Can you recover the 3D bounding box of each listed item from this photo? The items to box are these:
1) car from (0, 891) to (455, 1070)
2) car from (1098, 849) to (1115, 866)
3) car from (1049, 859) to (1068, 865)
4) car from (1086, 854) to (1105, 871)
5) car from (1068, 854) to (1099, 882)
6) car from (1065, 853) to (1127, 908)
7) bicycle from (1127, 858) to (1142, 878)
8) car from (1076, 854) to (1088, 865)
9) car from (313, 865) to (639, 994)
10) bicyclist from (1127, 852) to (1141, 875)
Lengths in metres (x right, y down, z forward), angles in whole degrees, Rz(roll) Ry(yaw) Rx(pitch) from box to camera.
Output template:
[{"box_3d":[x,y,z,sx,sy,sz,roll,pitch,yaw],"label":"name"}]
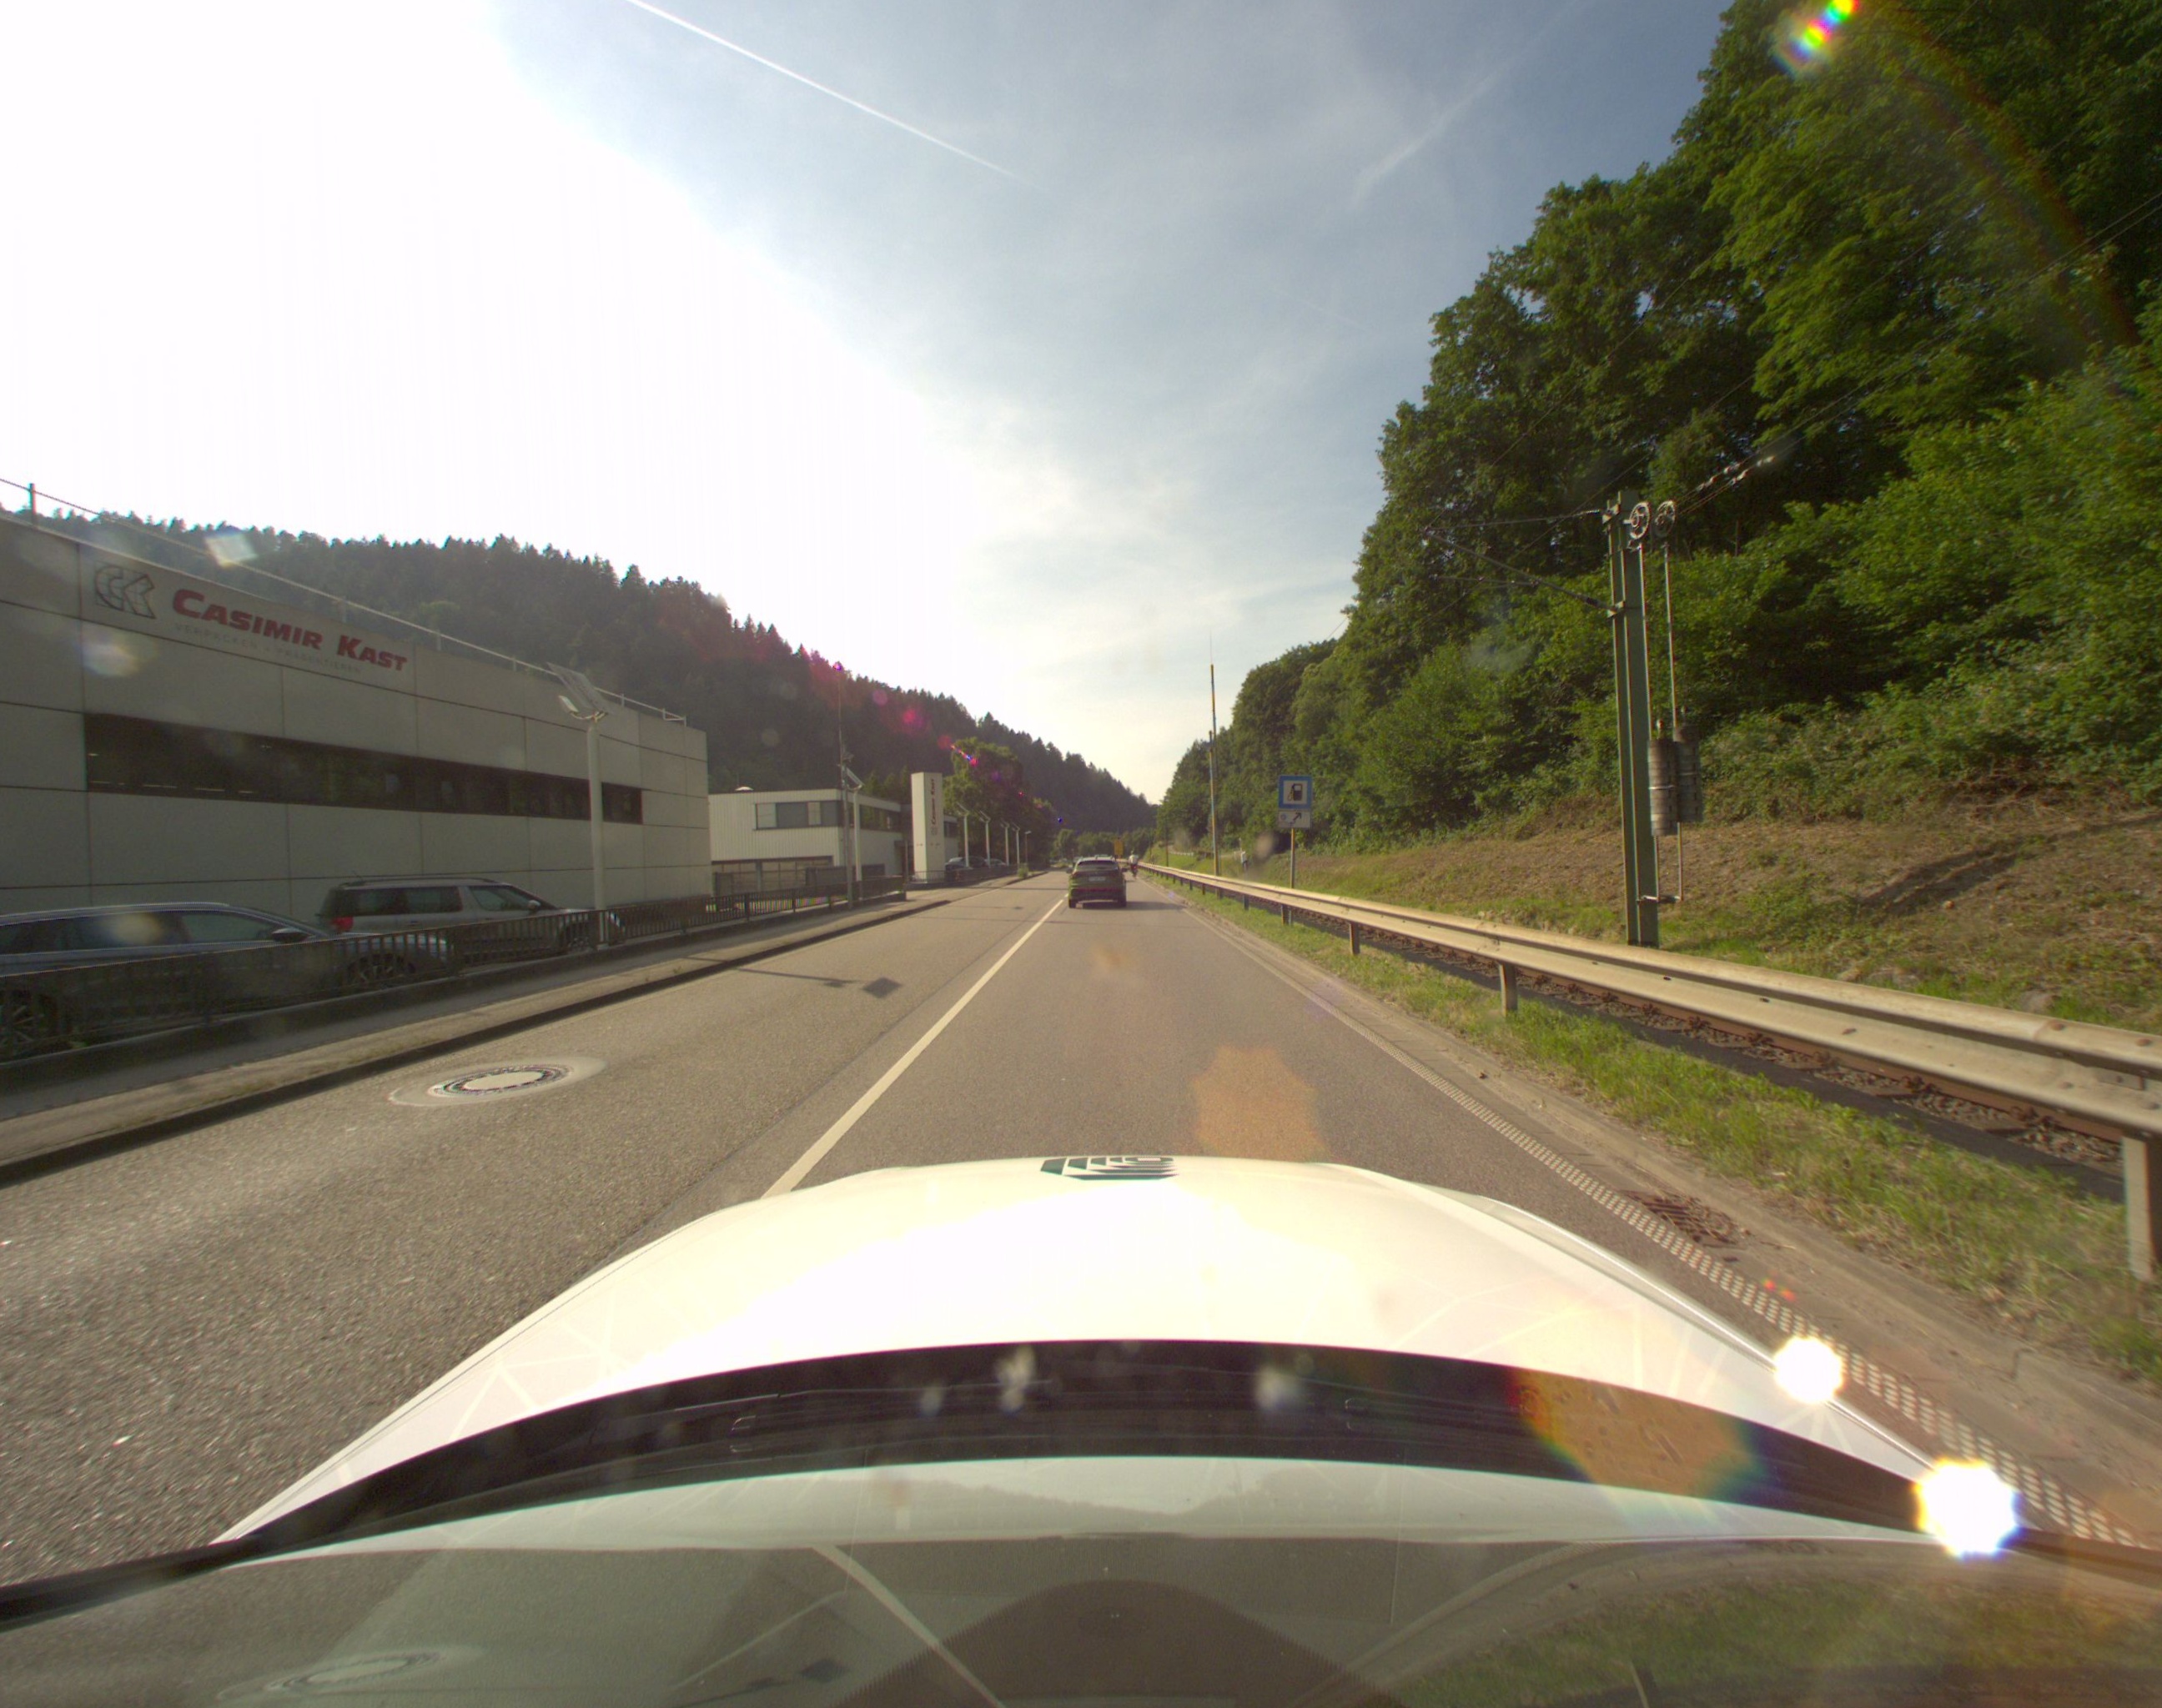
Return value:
[{"box_3d":[-10.121,1.296,9.242,1.865,1.495,4.516,-2,0,43],"label":"car"},{"box_3d":[3.045,0.428,98.616,1.986,2.013,4.001,-2,0,1],"label":"car"},{"box_3d":[-5.402,1.889,196.207,4.242,1.433,1.557,-2,0,2],"label":"car"},{"box_3d":[1.332,0.788,77.116,1.733,1.602,4.000,-1,0,1],"label":"car"},{"box_3d":[0.164,0.824,49.315,1.733,1.602,4.000,-1,0,1],"label":"car"},{"box_3d":[0.458,0.764,25.263,1.733,1.508,4.000,-2,0,1],"label":"car"},{"box_3d":[3.423,0.911,52.472,0.809,1.250,2.122,-2,0,0],"label":"bicycle"},{"box_3d":[0.141,0.725,114.341,1.671,1.485,4.247,0,0,1],"label":"car"},{"box_3d":[-9.985,1.118,13.683,1.759,1.708,4.135,-2,0,43],"label":"car"},{"box_3d":[3.410,0.610,52.476,0.779,1.412,0.675,-2,0,-1],"label":"bicyclist"}]
